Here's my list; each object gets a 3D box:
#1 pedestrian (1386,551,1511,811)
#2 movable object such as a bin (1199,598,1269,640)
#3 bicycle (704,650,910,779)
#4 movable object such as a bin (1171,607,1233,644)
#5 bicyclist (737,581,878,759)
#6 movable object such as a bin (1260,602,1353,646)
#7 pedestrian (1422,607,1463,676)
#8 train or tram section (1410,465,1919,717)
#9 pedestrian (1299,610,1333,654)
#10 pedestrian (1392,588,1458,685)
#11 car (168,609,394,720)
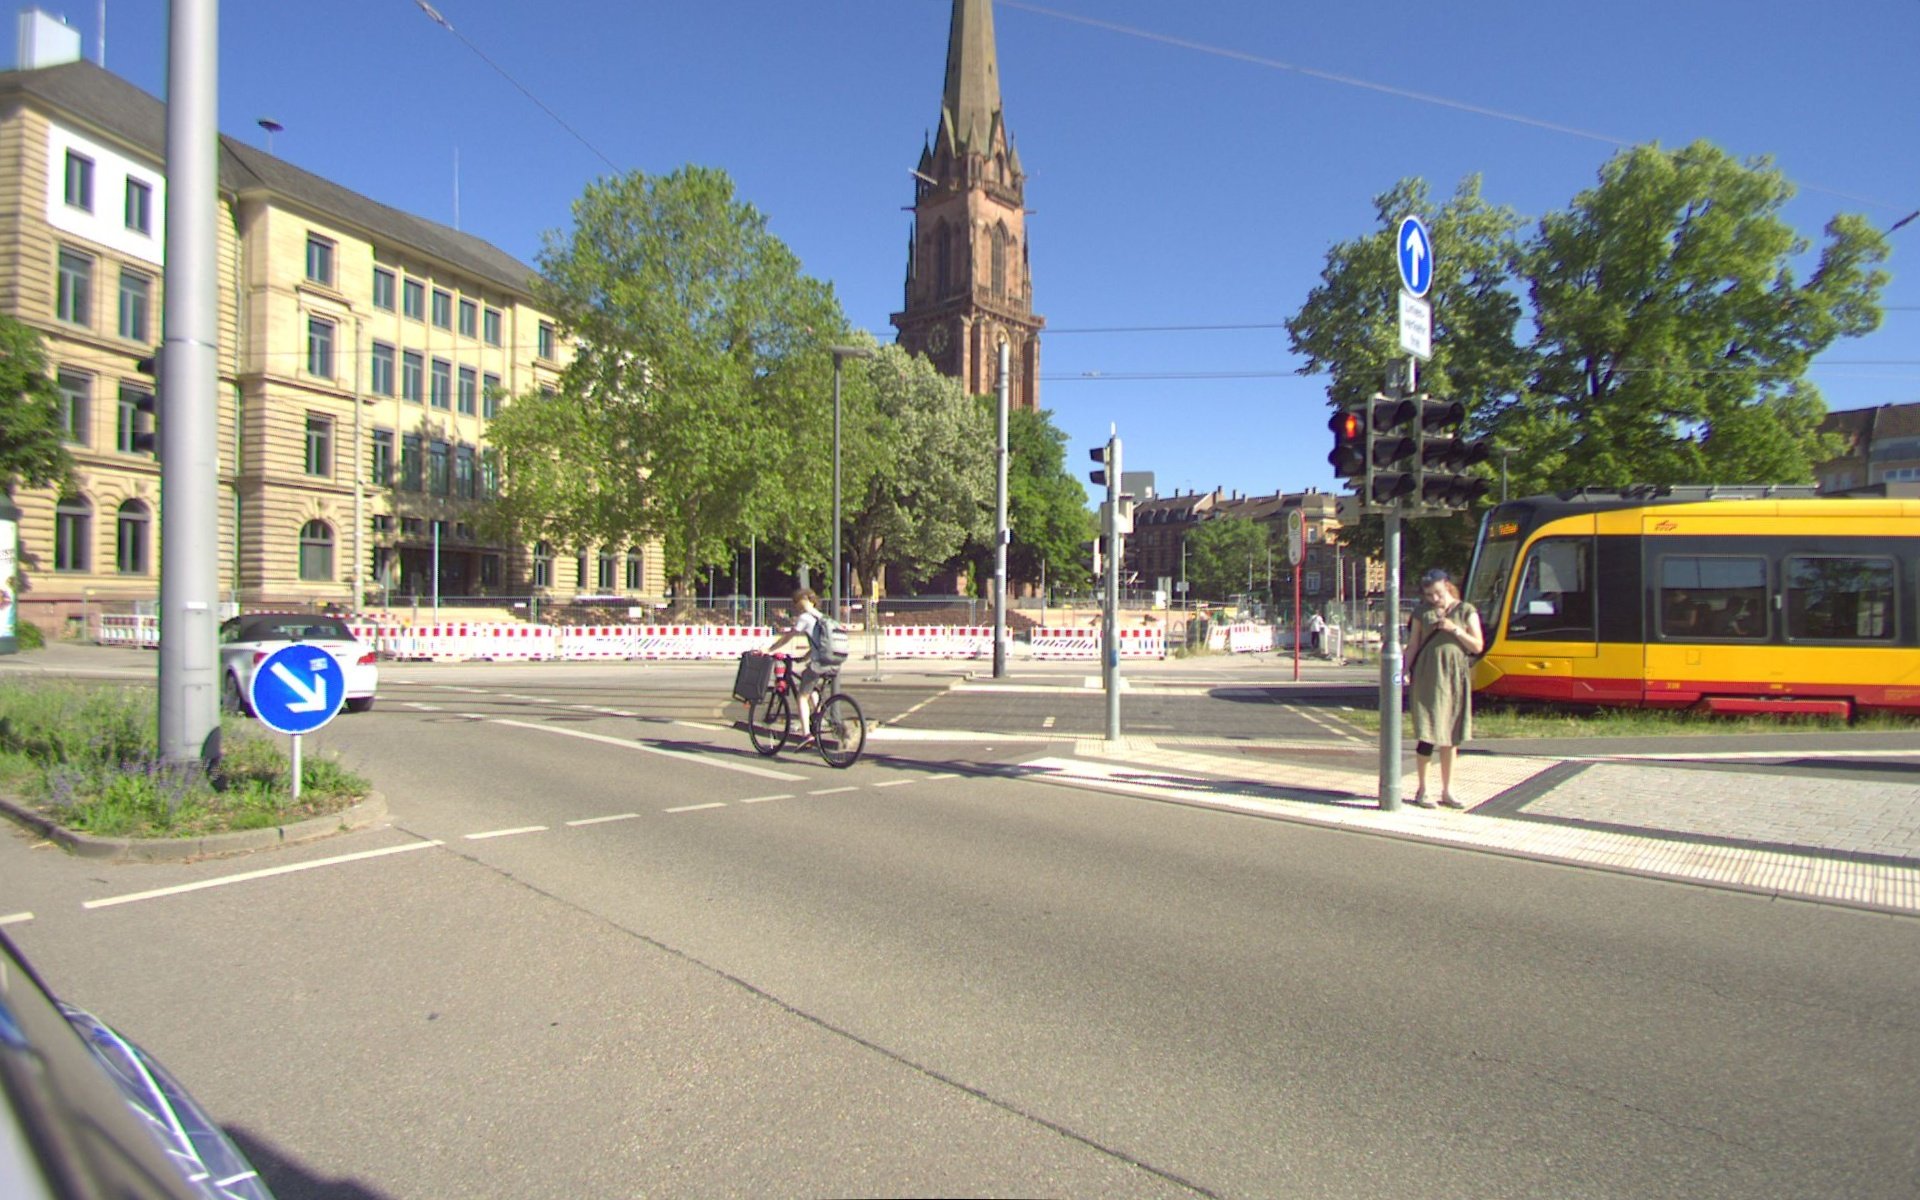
[{"bbox_3d":[3.792,0.592,7.848,0.760,1.864,0.893,-2,-1,28],"label":"pedestrian"},{"bbox_3d":[21.736,1.454,80.268,5.169,3.196,3.122,0,1,-44],"label":"movable object such as a bin"},{"bbox_3d":[-1.548,1.083,10.092,2.030,1.089,0.767,1,-1,33],"label":"bicycle"},{"bbox_3d":[16.539,1.707,68.997,4.161,2.364,1.898,1,1,-39],"label":"movable object such as a bin"},{"bbox_3d":[-1.516,0.660,10.100,1.057,1.657,0.873,0,-1,33],"label":"bicyclist"},{"bbox_3d":[24.332,1.625,71.270,1.865,2.779,6.095,1,1,-41],"label":"movable object such as a bin"},{"bbox_3d":[12.705,1.074,26.649,0.790,1.781,0.668,0,-1,7],"label":"pedestrian"},{"bbox_3d":[12.899,-0.113,15.744,10.354,3.534,2.820,0,-1,7],"label":"train or tram section"},{"bbox_3d":[14.408,1.287,40.972,0.850,1.781,0.976,1,-1,-32],"label":"pedestrian"},{"bbox_3d":[9.142,0.712,19.923,1.008,1.846,0.758,1,-3,9],"label":"pedestrian"},{"bbox_3d":[-10.115,0.878,14.968,4.092,1.404,1.781,0,-3,42],"label":"car"}]
